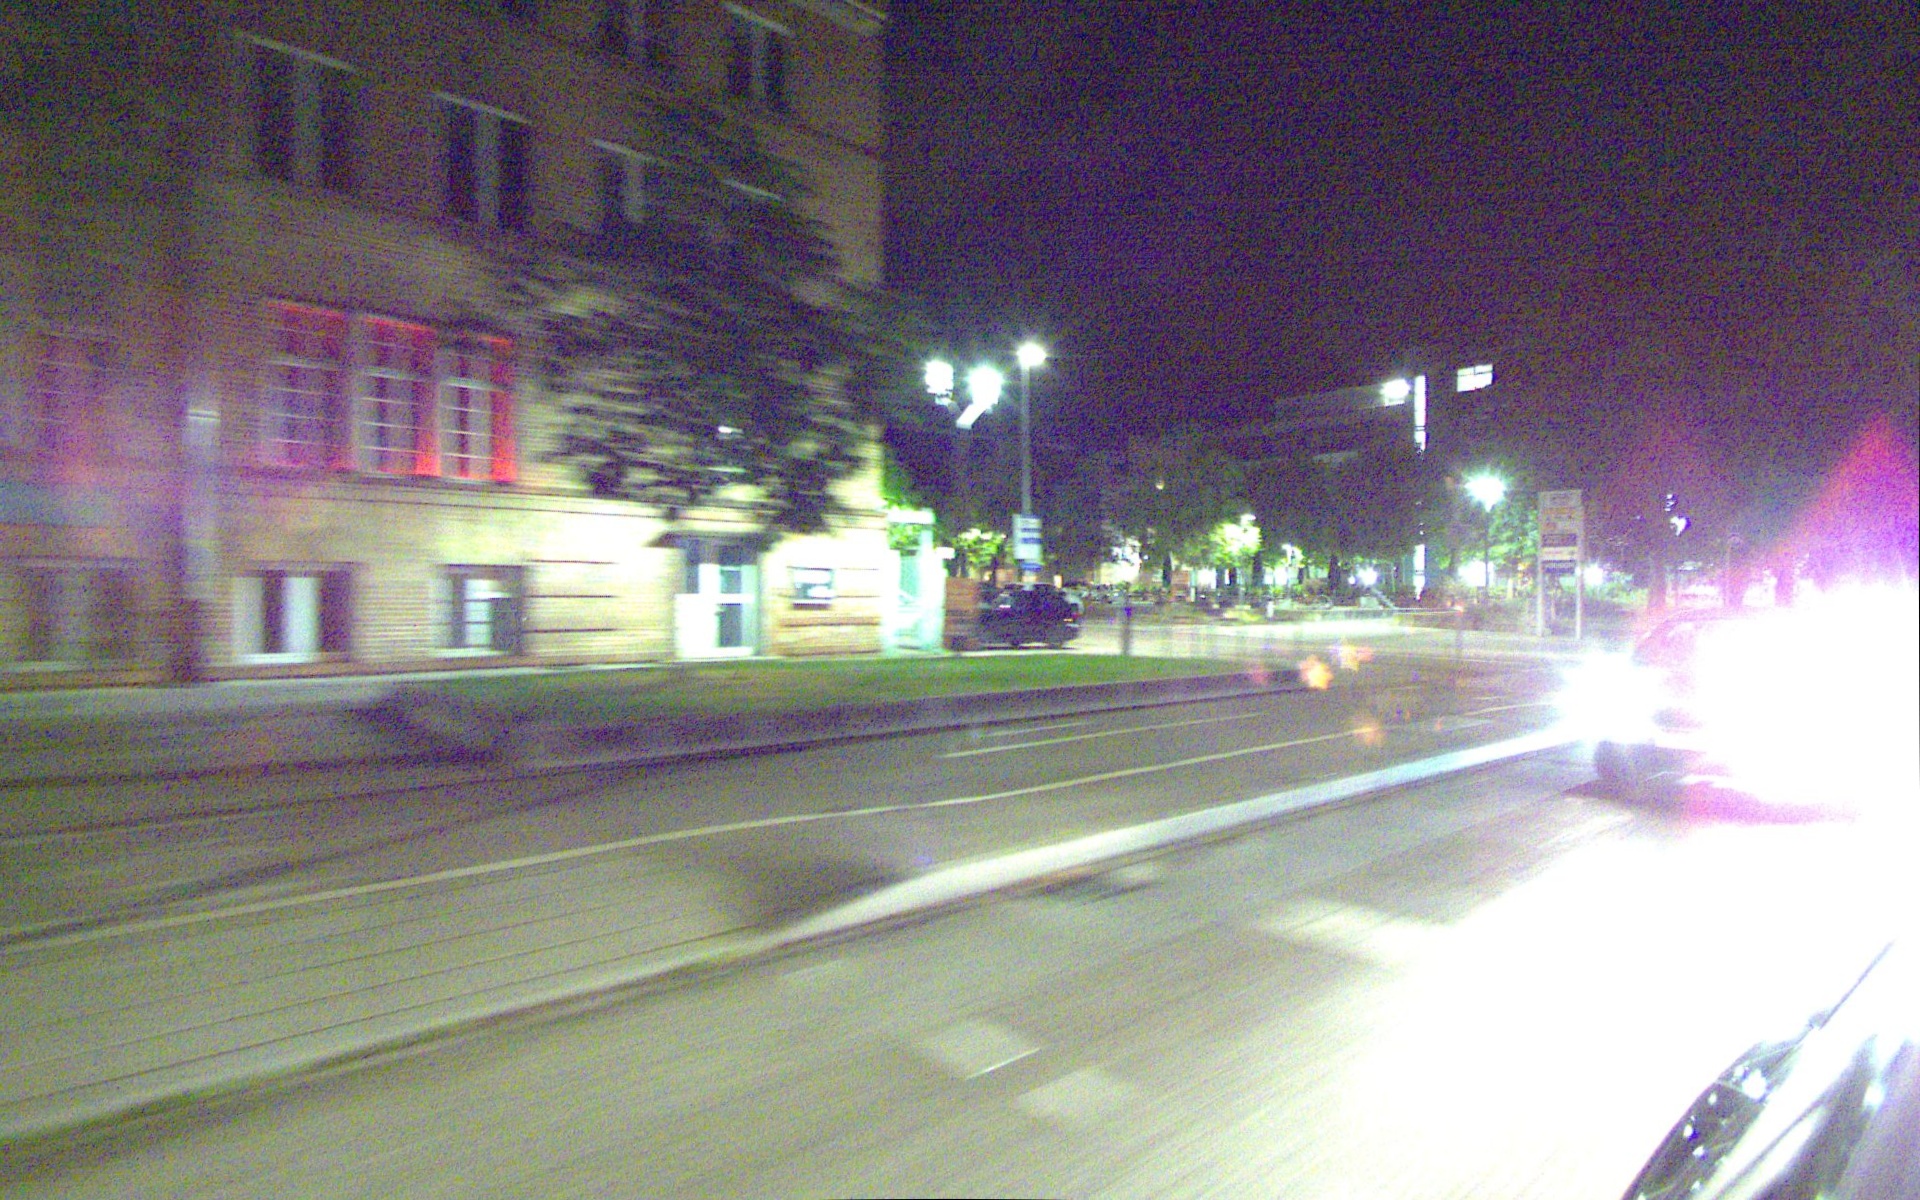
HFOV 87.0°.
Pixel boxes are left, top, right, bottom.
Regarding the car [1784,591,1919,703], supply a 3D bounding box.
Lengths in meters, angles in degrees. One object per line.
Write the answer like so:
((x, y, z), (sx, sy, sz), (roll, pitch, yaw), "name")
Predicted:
((14.327, 0.621, 15.481), (4.646, 1.513, 1.808), (-1, -1, -40), "car")

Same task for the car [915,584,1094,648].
((1.148, 0.358, 24.700), (4.399, 1.412, 1.517), (0, 2, -37), "car")

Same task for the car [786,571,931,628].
((-2.923, -0.053, 29.569), (3.930, 1.552, 1.785), (0, 1, -41), "car")

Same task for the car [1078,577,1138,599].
((10.736, -0.848, 73.198), (4.226, 1.527, 1.997), (0, 2, -41), "car")

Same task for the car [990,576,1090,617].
((3.304, -0.164, 41.357), (4.026, 1.552, 1.772), (0, 1, -41), "car")

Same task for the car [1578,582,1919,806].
((6.989, 0.638, 8.789), (3.930, 1.514, 1.640), (0, -1, -41), "car")

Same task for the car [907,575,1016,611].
((0.110, -0.331, 44.860), (4.808, 1.531, 1.892), (0, 1, -42), "car")
